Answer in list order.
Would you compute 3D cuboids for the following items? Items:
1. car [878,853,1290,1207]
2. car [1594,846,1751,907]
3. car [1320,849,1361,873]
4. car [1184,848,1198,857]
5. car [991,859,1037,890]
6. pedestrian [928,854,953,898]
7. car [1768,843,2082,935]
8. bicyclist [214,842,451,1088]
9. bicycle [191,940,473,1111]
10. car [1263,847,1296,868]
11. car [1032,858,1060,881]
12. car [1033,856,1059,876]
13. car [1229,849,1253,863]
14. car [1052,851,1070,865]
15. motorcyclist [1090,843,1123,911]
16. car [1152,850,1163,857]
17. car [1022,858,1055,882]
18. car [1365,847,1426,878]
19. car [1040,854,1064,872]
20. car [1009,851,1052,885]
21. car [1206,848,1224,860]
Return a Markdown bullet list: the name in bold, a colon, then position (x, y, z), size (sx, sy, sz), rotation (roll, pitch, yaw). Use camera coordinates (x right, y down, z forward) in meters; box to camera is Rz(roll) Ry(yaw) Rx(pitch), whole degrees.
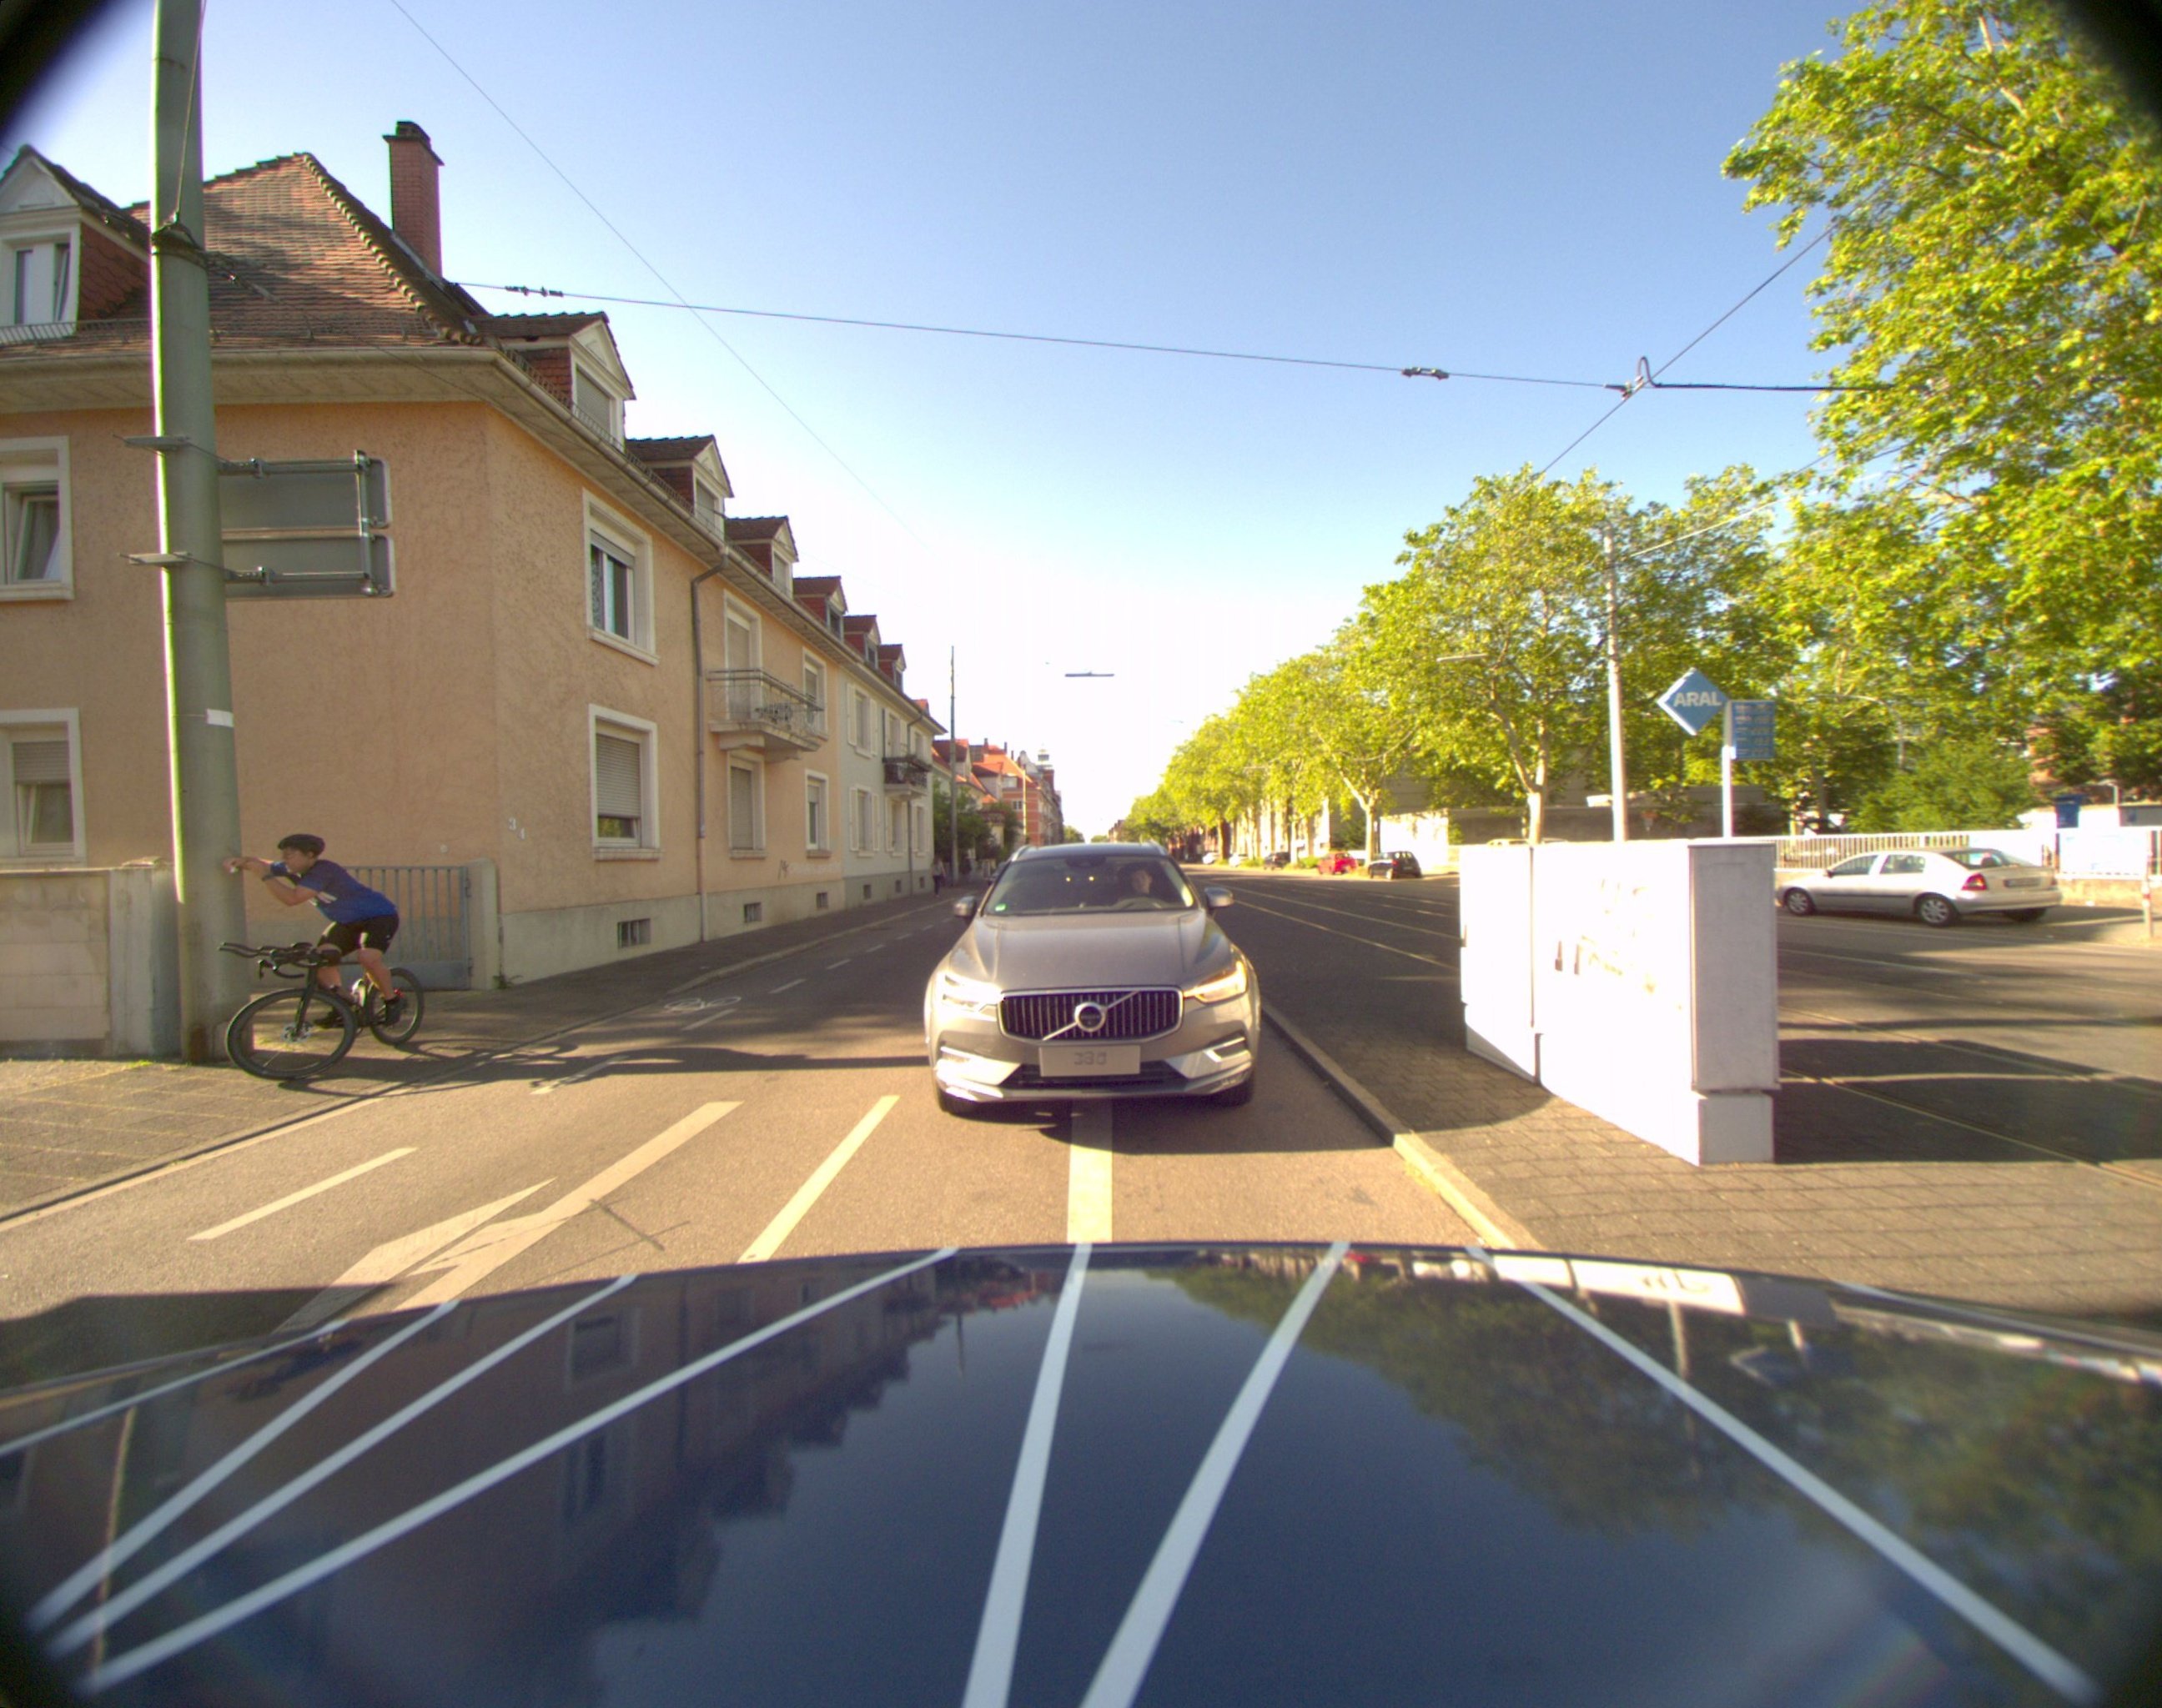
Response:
- **car**: position (0.046, 0.847, 5.807), size (1.940, 1.650, 4.321), rotation (-1, 0, 1)
- **car**: position (16.436, 0.574, 21.344), size (1.692, 1.455, 3.519), rotation (-4, 0, 2)
- **car**: position (16.949, 0.433, 49.754), size (1.641, 1.499, 3.046), rotation (-1, 0, 1)
- **car**: position (18.206, -0.222, 125.633), size (1.802, 1.504, 4.000), rotation (-1, 0, 1)
- **car**: position (-3.205, 0.961, 37.032), size (1.647, 1.357, 3.868), rotation (-1, 0, 4)
- **pedestrian**: position (-5.467, 0.843, 29.701), size (0.694, 1.652, 1.098), rotation (-2, 1, 0)
- **car**: position (16.250, 0.595, 14.996), size (1.795, 1.455, 3.966), rotation (-4, 0, 2)
- **bicyclist**: position (-6.143, 0.858, 6.297), size (1.076, 1.854, 0.846), rotation (2, 1, 1)
- **bicycle**: position (-5.939, 1.298, 6.182), size (0.572, 0.986, 1.698), rotation (2, 0, 1)
- **car**: position (17.202, 0.285, 66.046), size (1.802, 1.652, 4.000), rotation (-1, 0, 1)
- **car**: position (-2.460, 1.081, 54.445), size (1.785, 1.468, 4.000), rotation (-1, 0, 1)
- **car**: position (-2.744, 0.941, 60.682), size (1.785, 1.468, 4.000), rotation (-1, 0, 1)
- **car**: position (17.554, 0.220, 83.431), size (1.802, 1.489, 4.000), rotation (-1, 0, 1)
- **car**: position (-2.196, 0.446, 85.497), size (1.875, 1.477, 4.000), rotation (-1, 0, 1)
- **motorcyclist**: position (0.688, 0.620, 21.191), size (0.827, 1.832, 1.159), rotation (-2, 1, 1)
- **car**: position (16.463, -0.086, 163.738), size (1.802, 1.504, 4.000), rotation (-1, 0, 1)
- **car**: position (-2.677, 0.987, 48.310), size (1.785, 1.346, 4.000), rotation (-1, 0, 1)
- **car**: position (16.888, 0.420, 40.985), size (1.826, 1.521, 3.653), rotation (-2, 0, 1)
- **car**: position (-2.554, 0.763, 66.835), size (1.875, 1.477, 4.000), rotation (-1, 0, 1)
- **car**: position (-2.782, 0.712, 42.891), size (1.751, 1.767, 5.351), rotation (-1, 0, 3)
- **car**: position (17.742, -0.012, 100.676), size (1.802, 1.504, 4.000), rotation (-1, 0, 1)
